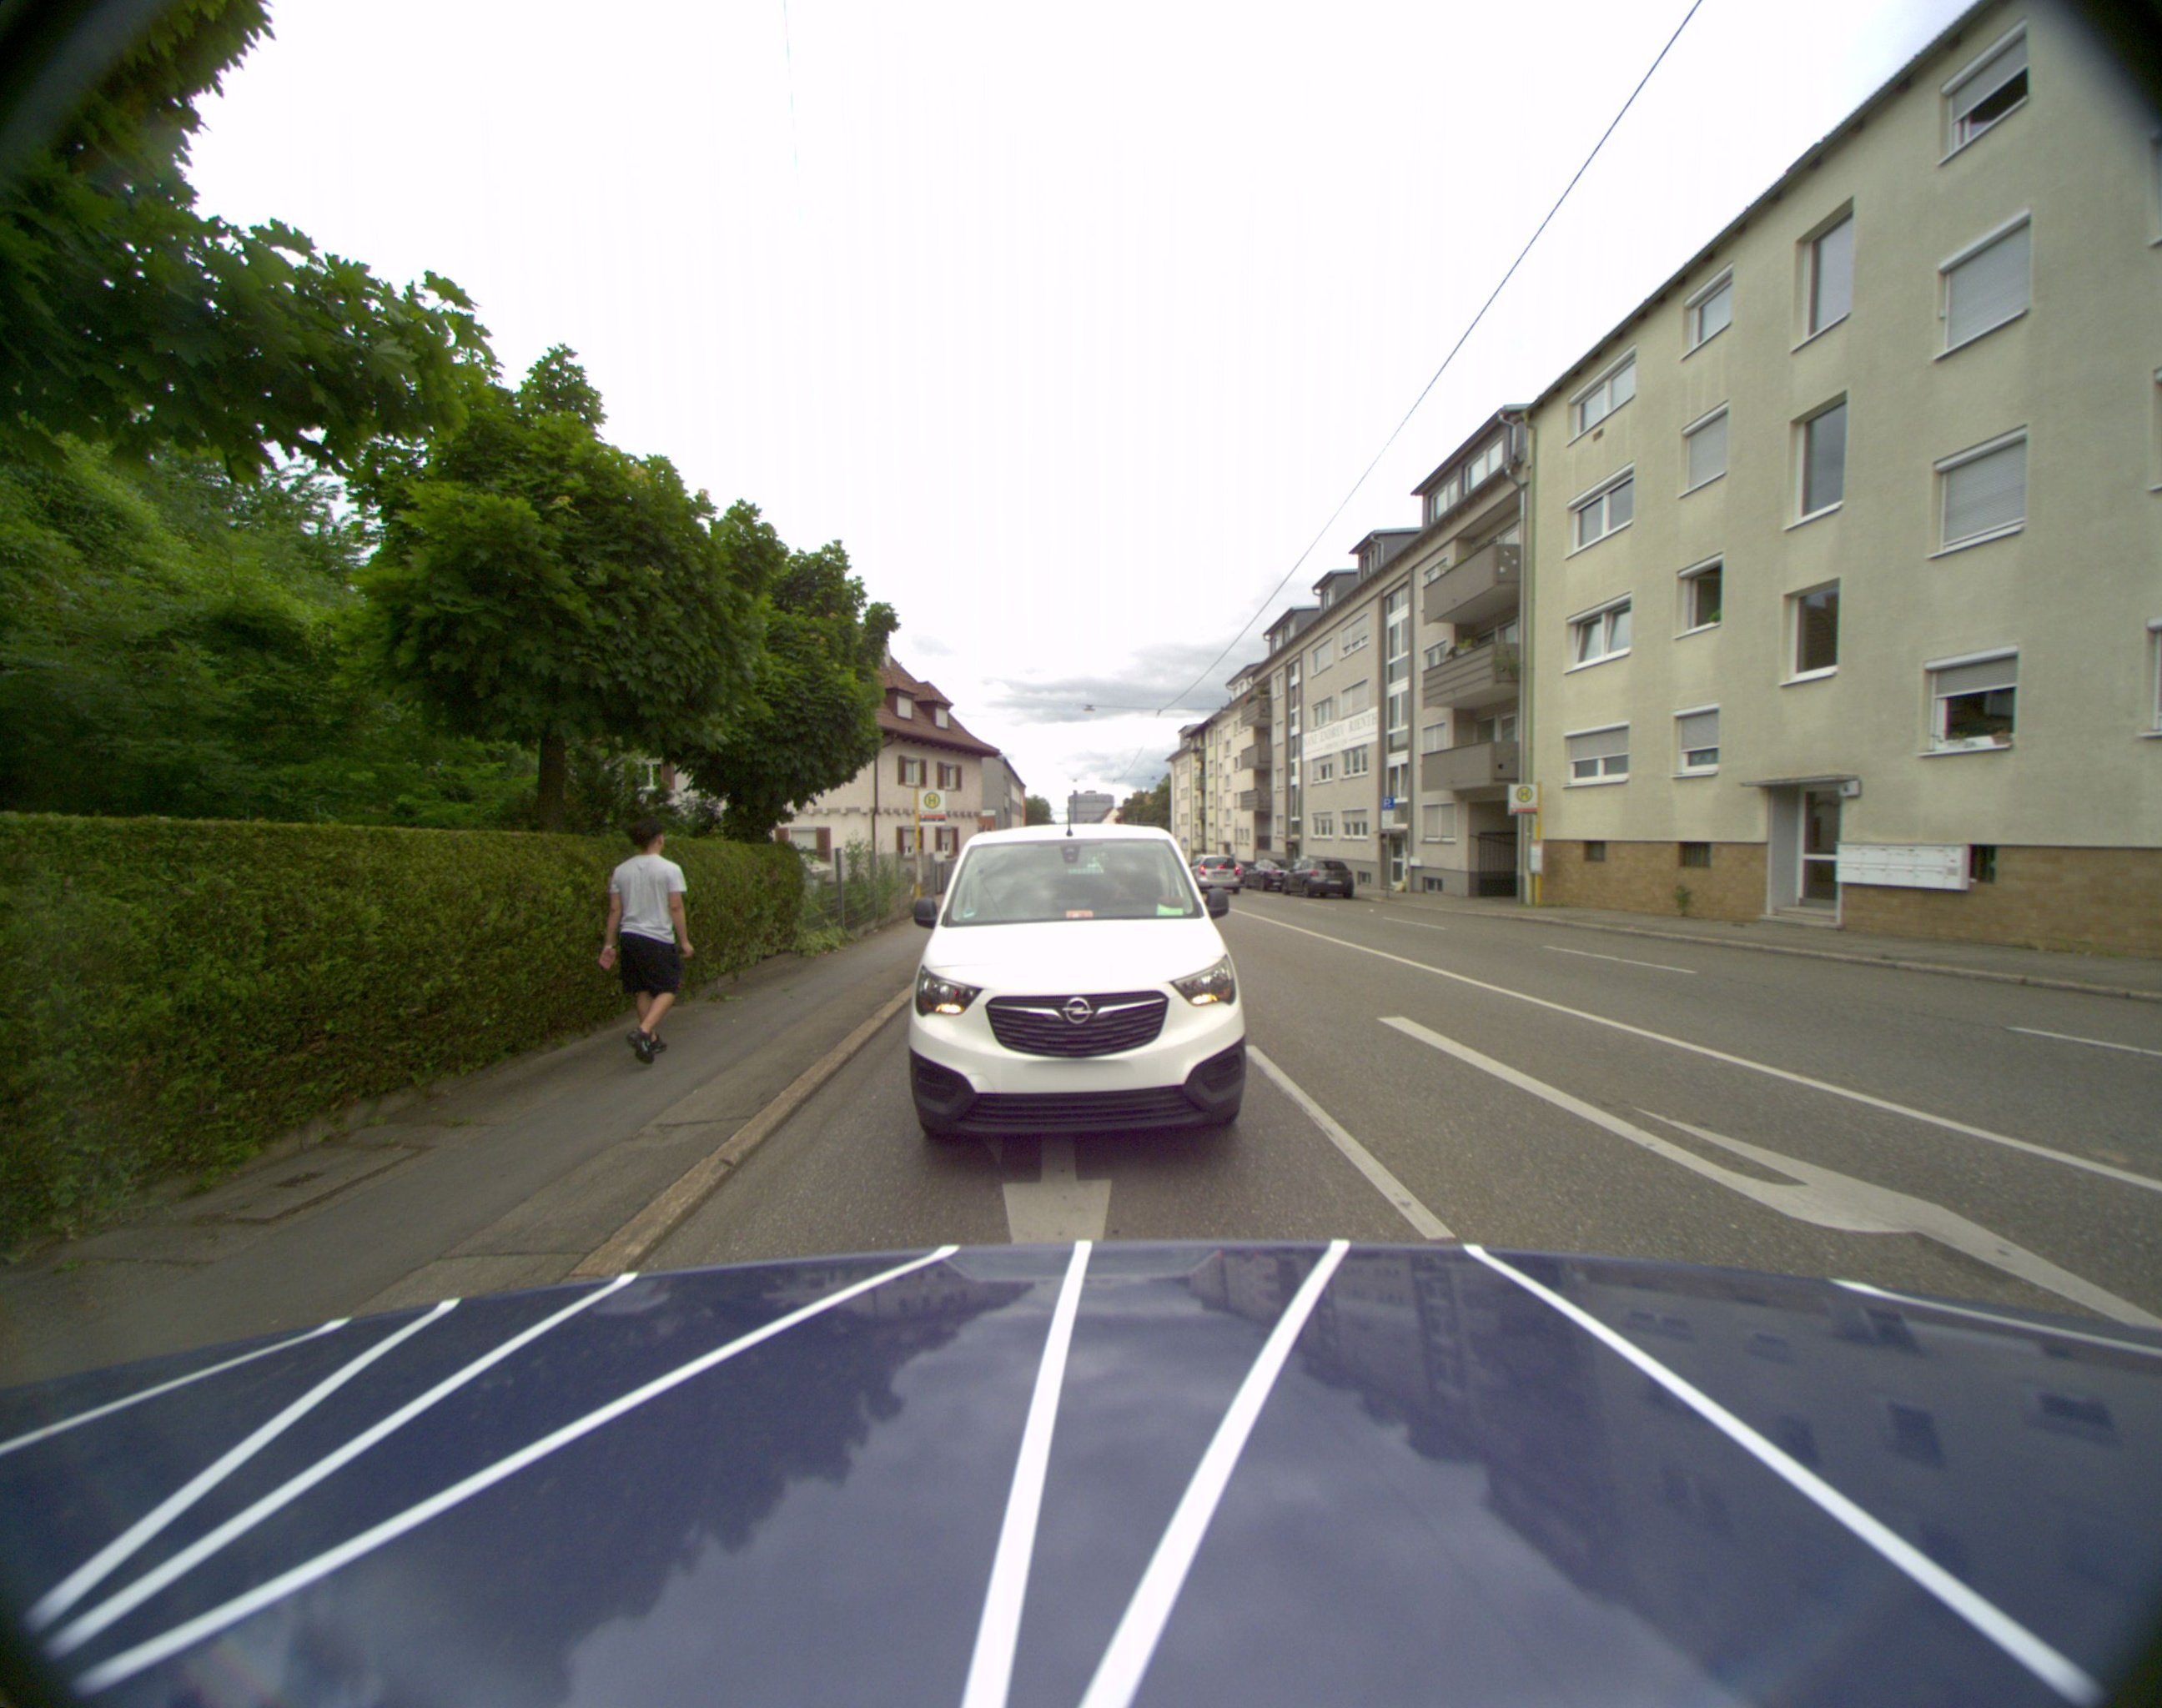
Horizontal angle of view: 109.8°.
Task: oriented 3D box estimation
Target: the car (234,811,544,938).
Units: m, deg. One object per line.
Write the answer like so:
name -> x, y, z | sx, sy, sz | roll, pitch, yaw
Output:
car -> -12.753, 0.317, 14.207 | 1.994, 2.002, 4.008 | -1, 0, 40

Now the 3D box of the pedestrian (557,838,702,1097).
pedestrian -> -3.169, 0.770, 5.367 | 0.695, 1.728, 0.467 | 2, 1, -1

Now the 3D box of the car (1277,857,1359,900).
car -> 8.898, 0.874, 28.847 | 1.773, 1.428, 3.800 | 1, 0, -2

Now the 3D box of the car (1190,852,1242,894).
car -> 5.566, 0.751, 31.753 | 1.712, 1.608, 4.001 | 1, 0, 4

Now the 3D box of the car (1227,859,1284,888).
car -> 8.964, 0.965, 39.394 | 1.773, 1.397, 4.306 | 0, 0, -2

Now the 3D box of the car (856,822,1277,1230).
car -> -0.118, 0.749, 5.397 | 1.803, 1.736, 3.999 | -3, 1, -2

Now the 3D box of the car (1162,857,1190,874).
car -> 8.204, 0.955, 65.975 | 1.875, 1.372, 4.307 | 2, 0, 0
